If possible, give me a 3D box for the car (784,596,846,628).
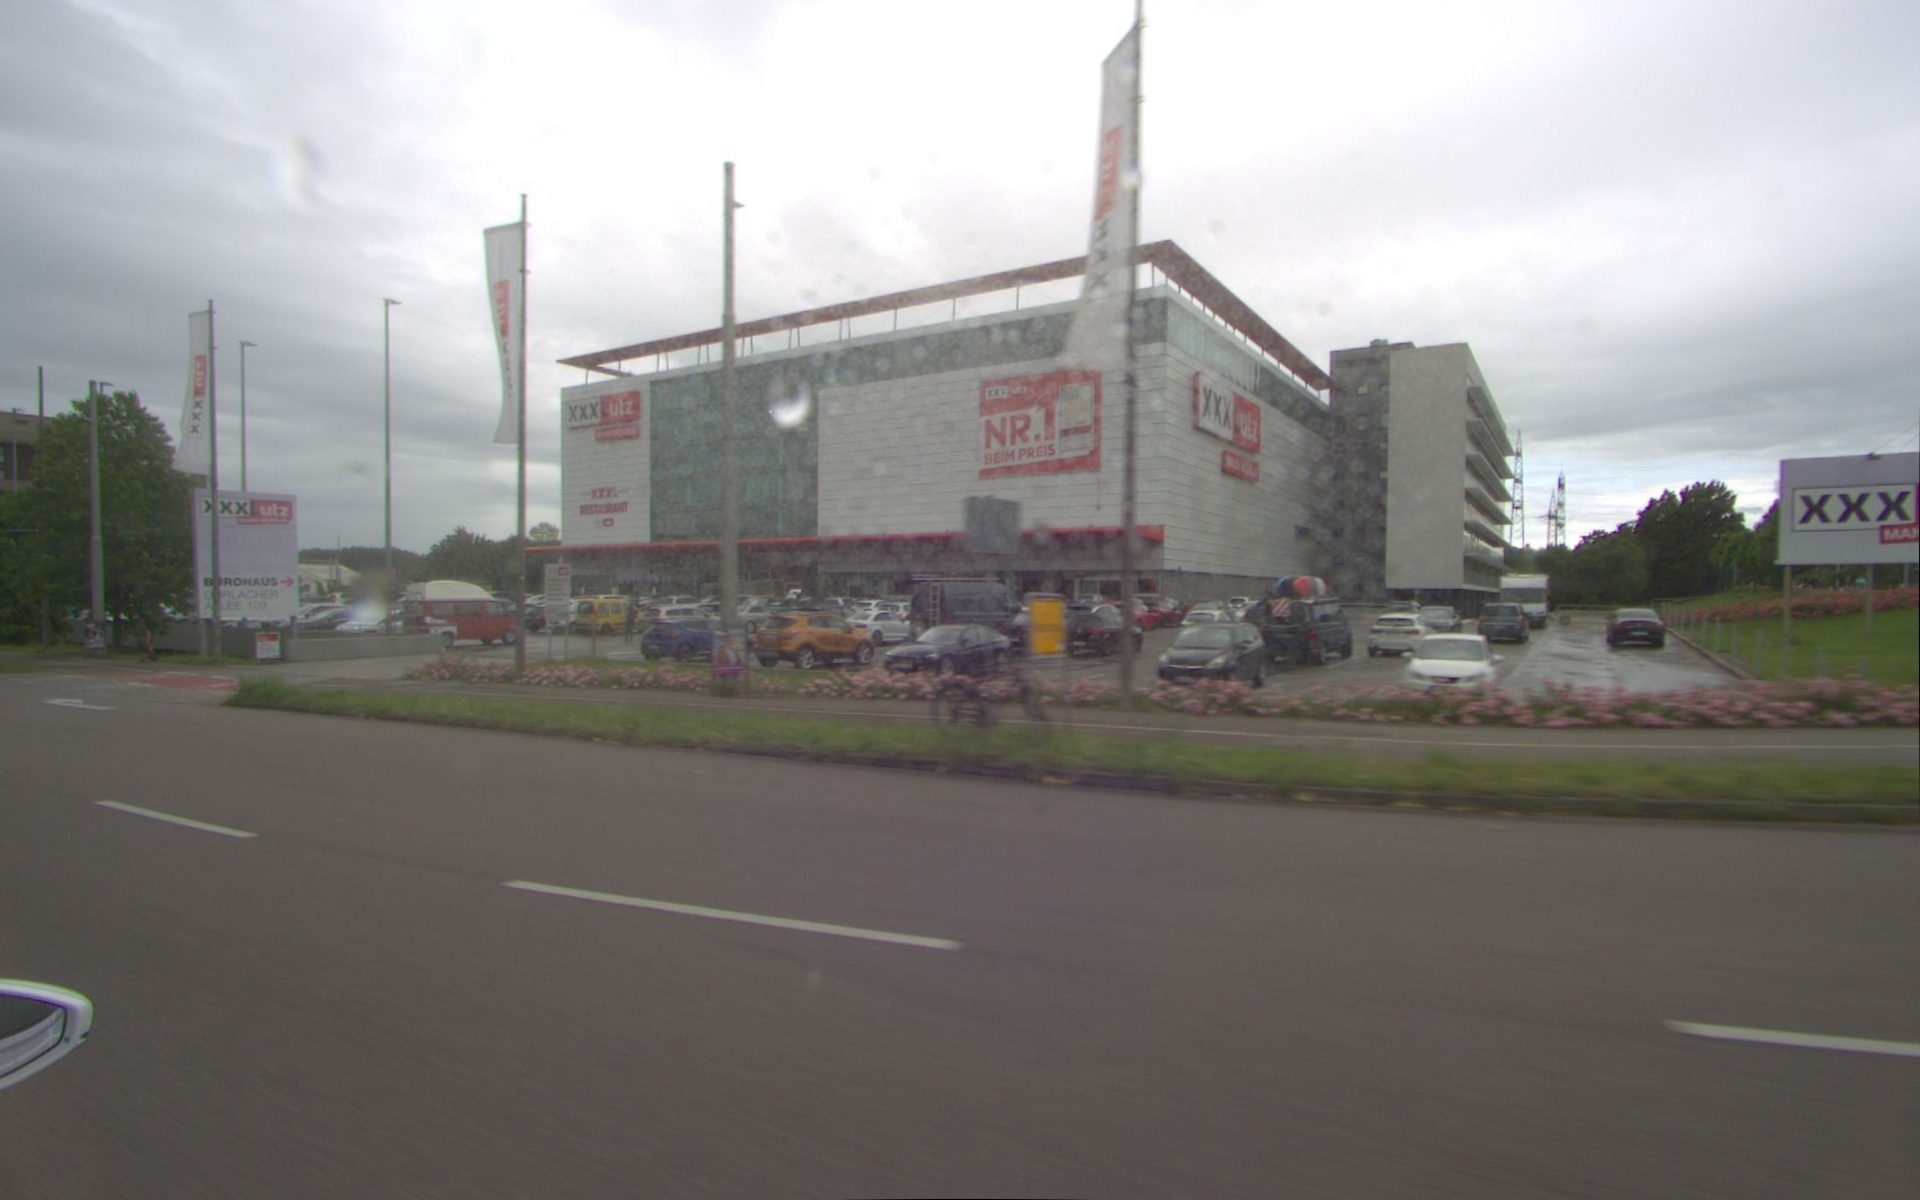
[{"bbox_3d":[-9.262,0.764,64.083,1.906,1.951,3.982,-1,-1,30],"label":"car"}]

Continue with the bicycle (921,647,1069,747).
[{"bbox_3d":[0.390,1.090,11.671,1.671,1.062,0.660,-1,-1,39],"label":"bicycle"}]

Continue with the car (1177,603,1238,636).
[{"bbox_3d":[13.547,1.041,54.733,1.924,1.675,3.975,-1,0,35],"label":"car"}]

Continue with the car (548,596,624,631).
[{"bbox_3d":[-22.815,0.847,61.187,1.950,2.040,3.977,0,-1,34],"label":"car"}]

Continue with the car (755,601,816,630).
[{"bbox_3d":[-11.366,1.021,65.290,1.813,1.864,3.983,0,-1,30],"label":"car"}]

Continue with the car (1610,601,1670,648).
[{"bbox_3d":[26.931,0.945,39.739,1.888,1.779,3.977,0,0,33],"label":"car"}]

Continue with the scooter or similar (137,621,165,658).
[{"bbox_3d":[-27.448,1.346,33.971,1.230,1.207,0.369,1,1,33],"label":"scooter or similar"}]

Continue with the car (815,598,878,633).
[{"bbox_3d":[-7.089,0.969,62.816,1.885,2.083,3.982,2,0,30],"label":"car"}]

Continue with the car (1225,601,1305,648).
[{"bbox_3d":[11.616,0.908,37.966,1.971,1.697,3.980,-1,-1,31],"label":"car"}]

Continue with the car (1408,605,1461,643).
[{"bbox_3d":[20.520,1.005,43.240,1.805,1.536,3.982,-1,0,29],"label":"car"}]

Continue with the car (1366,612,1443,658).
[{"bbox_3d":[15.595,1.174,35.030,1.722,1.495,4.186,-1,0,34],"label":"car"}]

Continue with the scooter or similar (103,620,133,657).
[{"bbox_3d":[-33.417,1.507,39.729,1.799,1.440,0.647,-1,0,42],"label":"scooter or similar"}]

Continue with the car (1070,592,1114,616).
[{"bbox_3d":[9.289,0.277,70.403,1.628,1.581,3.594,1,2,34],"label":"car"}]

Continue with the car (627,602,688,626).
[{"bbox_3d":[-21.702,1.015,71.967,1.752,1.582,3.975,2,1,35],"label":"car"}]

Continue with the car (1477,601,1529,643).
[{"bbox_3d":[23.001,0.906,42.354,1.857,1.687,3.982,0,0,30],"label":"car"}]

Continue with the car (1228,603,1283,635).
[{"bbox_3d":[15.939,0.987,53.909,1.754,1.552,3.975,0,1,34],"label":"car"}]

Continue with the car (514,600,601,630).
[{"bbox_3d":[-21.479,0.801,53.544,1.861,1.554,3.980,0,-1,32],"label":"car"}]

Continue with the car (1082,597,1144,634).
[{"bbox_3d":[8.705,0.879,56.886,1.973,2.040,3.977,-1,-1,34],"label":"car"}]

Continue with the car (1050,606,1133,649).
[{"bbox_3d":[5.519,1.097,41.722,1.860,1.692,3.976,0,0,34],"label":"car"}]

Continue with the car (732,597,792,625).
[{"bbox_3d":[-13.201,0.766,66.976,1.860,1.846,3.984,0,-1,29],"label":"car"}]

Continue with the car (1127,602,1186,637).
[{"bbox_3d":[11.041,1.050,56.003,1.796,1.842,3.975,-1,0,35],"label":"car"}]

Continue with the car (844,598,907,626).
[{"bbox_3d":[-5.111,0.746,60.969,1.808,1.676,3.980,0,-1,31],"label":"car"}]

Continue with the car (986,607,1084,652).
[{"bbox_3d":[2.853,1.055,37.151,1.972,1.589,3.978,-1,-1,33],"label":"car"}]

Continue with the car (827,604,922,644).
[{"bbox_3d":[-3.476,0.954,41.526,1.838,1.572,3.976,-1,-1,34],"label":"car"}]

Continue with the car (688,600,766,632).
[{"bbox_3d":[-12.539,0.861,54.055,1.762,1.656,3.976,0,-1,34],"label":"car"}]

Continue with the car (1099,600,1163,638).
[{"bbox_3d":[8.882,0.986,51.808,1.807,1.886,3.978,0,-1,33],"label":"car"}]

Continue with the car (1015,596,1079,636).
[{"bbox_3d":[4.764,0.873,54.684,1.857,2.074,3.978,0,-1,33],"label":"car"}]

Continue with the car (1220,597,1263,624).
[{"bbox_3d":[18.163,0.664,64.601,1.628,1.581,3.594,1,2,34],"label":"car"}]

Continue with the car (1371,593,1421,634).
[{"bbox_3d":[22.011,0.679,50.516,1.970,1.976,3.983,0,-1,29],"label":"car"}]

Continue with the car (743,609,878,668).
[{"bbox_3d":[-4.504,1.129,30.611,1.792,1.665,3.973,0,0,37],"label":"car"}]

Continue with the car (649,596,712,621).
[{"bbox_3d":[-19.611,0.626,70.304,1.856,1.632,3.975,2,1,35],"label":"car"}]

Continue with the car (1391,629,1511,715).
[{"bbox_3d":[10.324,1.403,20.915,1.848,1.465,4.100,2,1,31],"label":"car"}]

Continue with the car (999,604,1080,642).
[{"bbox_3d":[3.494,0.999,43.432,1.829,1.576,3.978,0,-1,34],"label":"car"}]
